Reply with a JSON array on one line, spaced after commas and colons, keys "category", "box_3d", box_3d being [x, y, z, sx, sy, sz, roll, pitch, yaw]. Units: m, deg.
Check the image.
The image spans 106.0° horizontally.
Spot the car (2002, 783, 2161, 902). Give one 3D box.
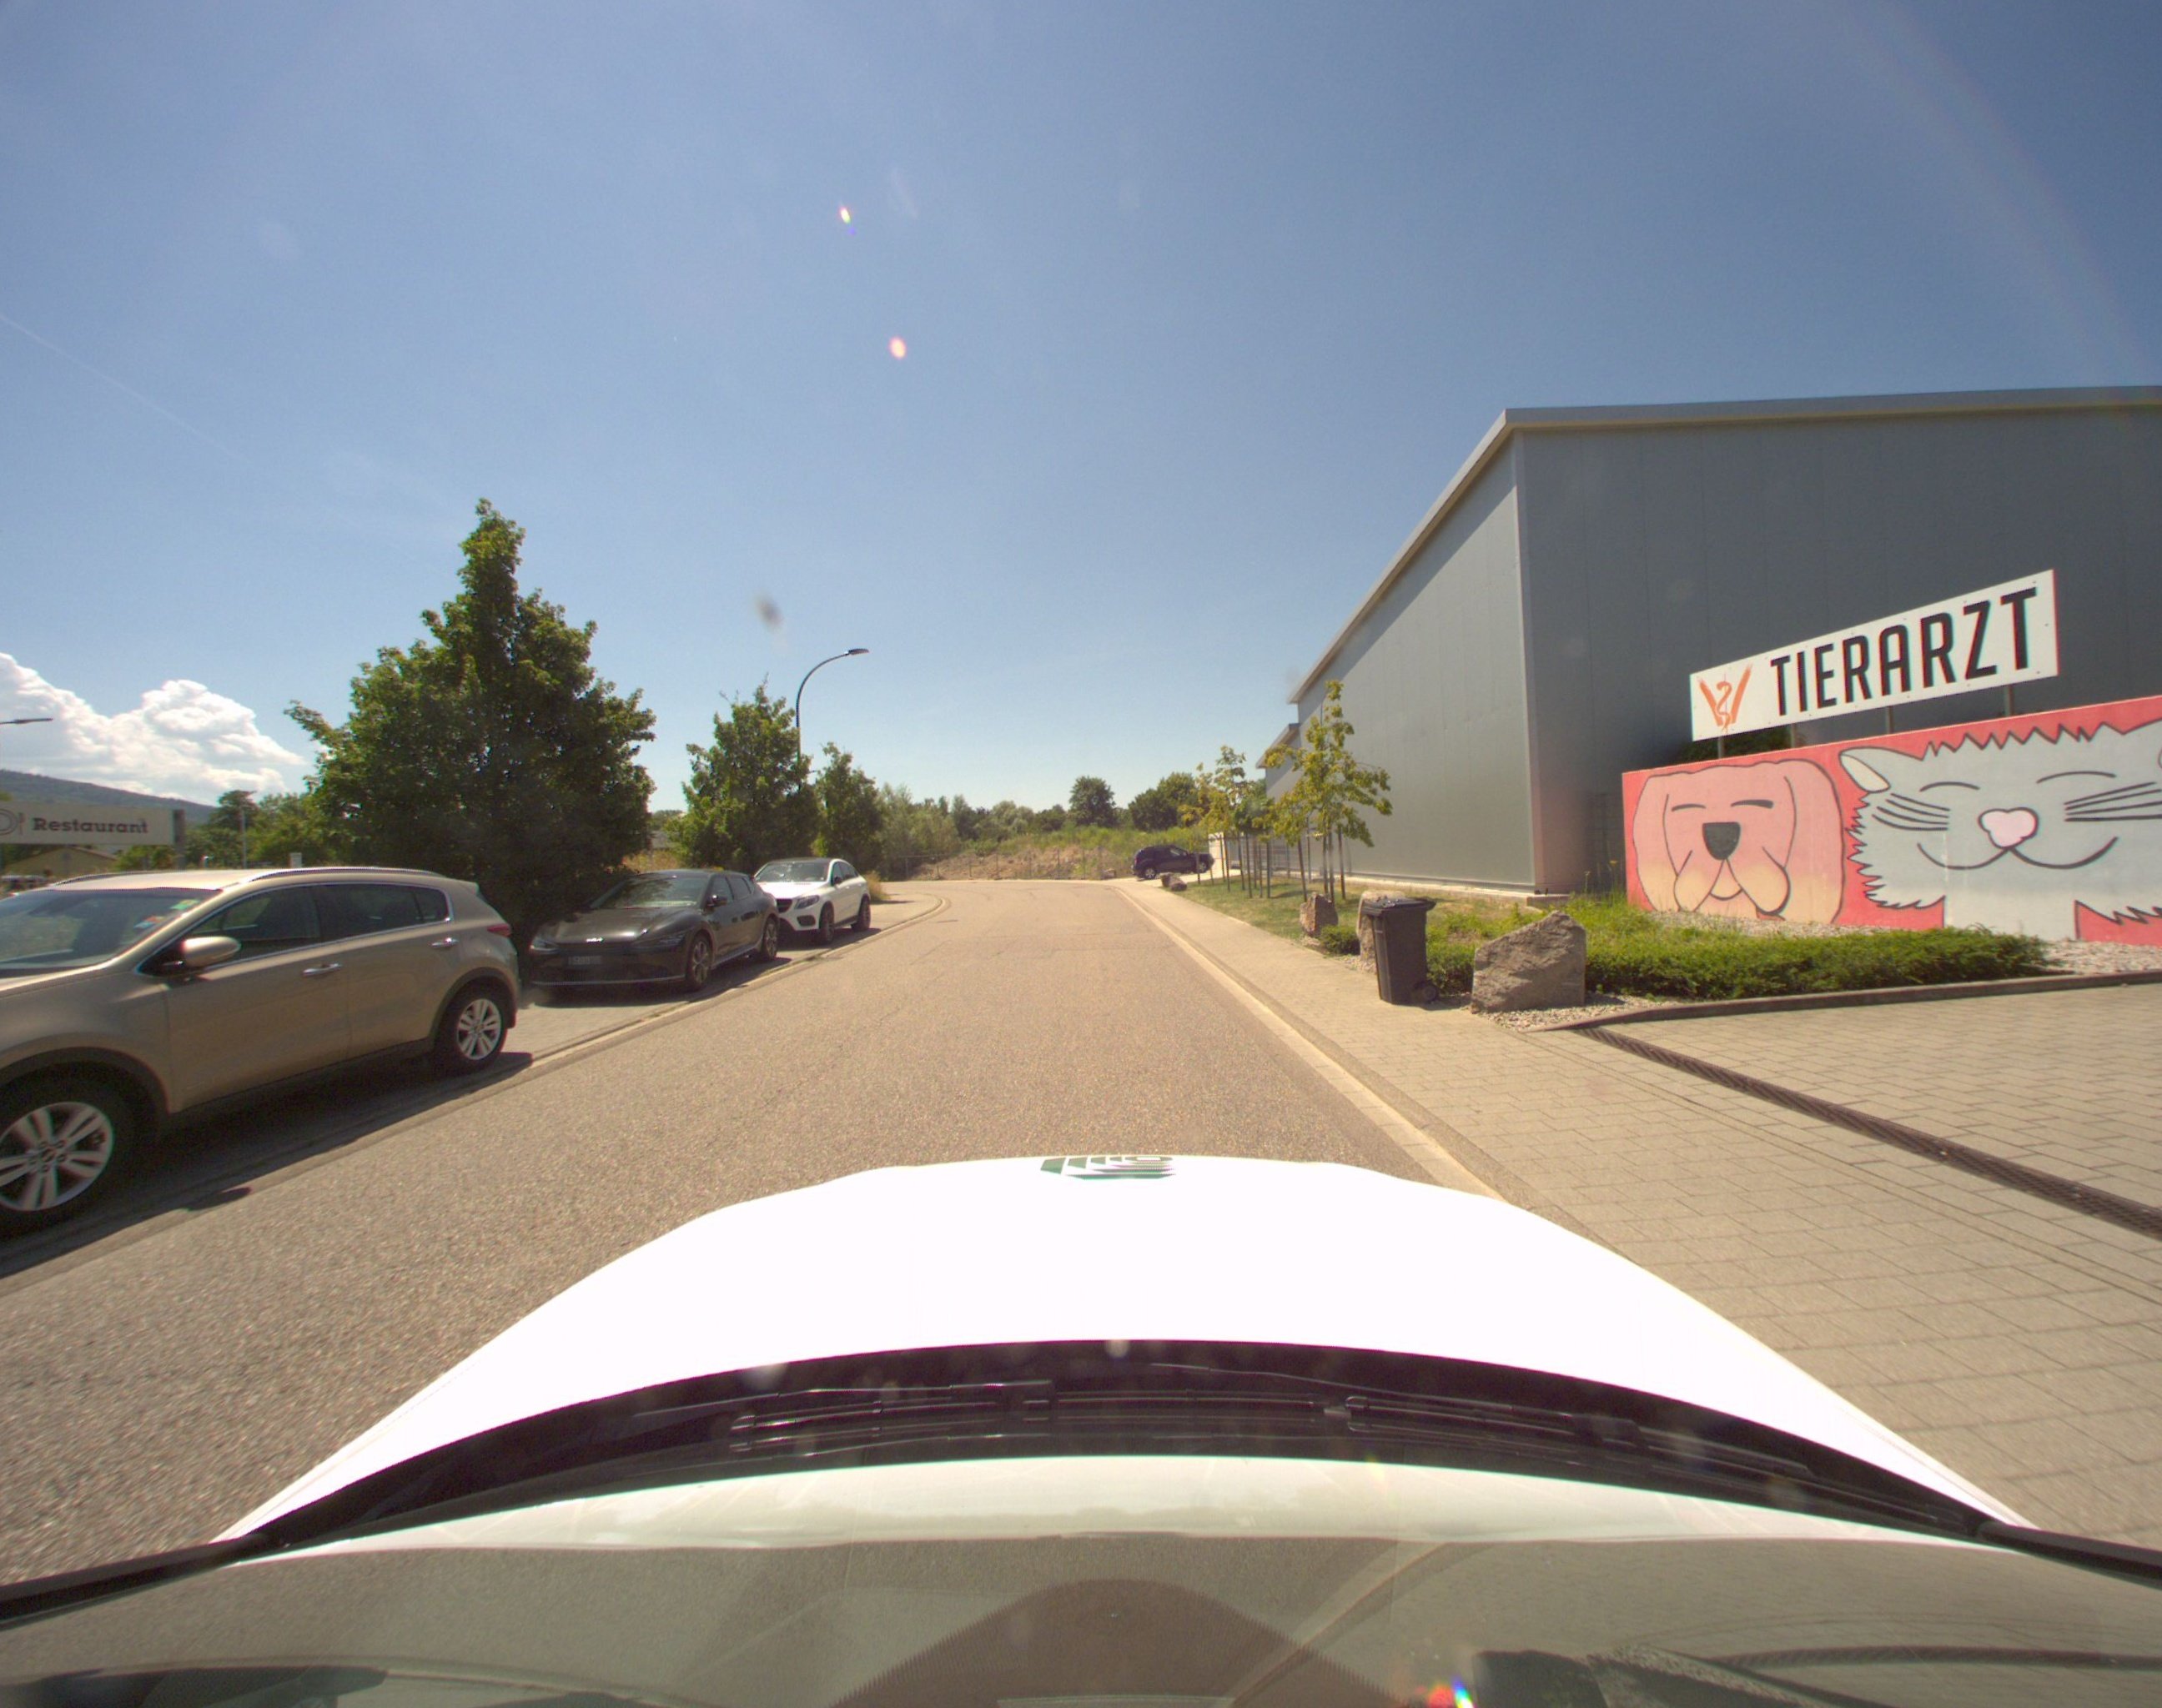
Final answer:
[{"category": "car", "box_3d": [15.015, -0.189, 10.138, 1.990, 1.542, 4.344, -2, -1, -5]}]

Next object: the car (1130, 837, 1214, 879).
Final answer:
[{"category": "car", "box_3d": [4.684, 0.198, 42.347, 3.999, 1.655, 1.857, -7, 0, -1]}]

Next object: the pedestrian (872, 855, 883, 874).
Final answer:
[{"category": "pedestrian", "box_3d": [-20.121, 1.002, 80.671, 0.874, 1.825, 0.739, -2, 0, -2]}]

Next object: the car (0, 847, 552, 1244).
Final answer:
[{"category": "car", "box_3d": [-5.646, 0.834, 4.988, 1.907, 1.713, 4.411, -1, 0, -1]}]

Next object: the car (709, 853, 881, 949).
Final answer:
[{"category": "car", "box_3d": [-5.811, 0.856, 17.248, 1.907, 1.655, 4.753, -3, 0, -1]}]

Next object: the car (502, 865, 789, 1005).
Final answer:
[{"category": "car", "box_3d": [-5.855, 0.975, 11.707, 1.908, 1.491, 4.408, -1, 0, -3]}]

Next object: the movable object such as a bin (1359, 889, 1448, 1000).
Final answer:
[{"category": "movable object such as a bin", "box_3d": [2.994, 0.825, 7.603, 0.557, 0.946, 0.539, -4, 0, -2]}]

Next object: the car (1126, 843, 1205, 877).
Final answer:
[{"category": "car", "box_3d": [4.580, 0.300, 44.526, 3.999, 1.462, 1.891, -5, 0, -2]}]
